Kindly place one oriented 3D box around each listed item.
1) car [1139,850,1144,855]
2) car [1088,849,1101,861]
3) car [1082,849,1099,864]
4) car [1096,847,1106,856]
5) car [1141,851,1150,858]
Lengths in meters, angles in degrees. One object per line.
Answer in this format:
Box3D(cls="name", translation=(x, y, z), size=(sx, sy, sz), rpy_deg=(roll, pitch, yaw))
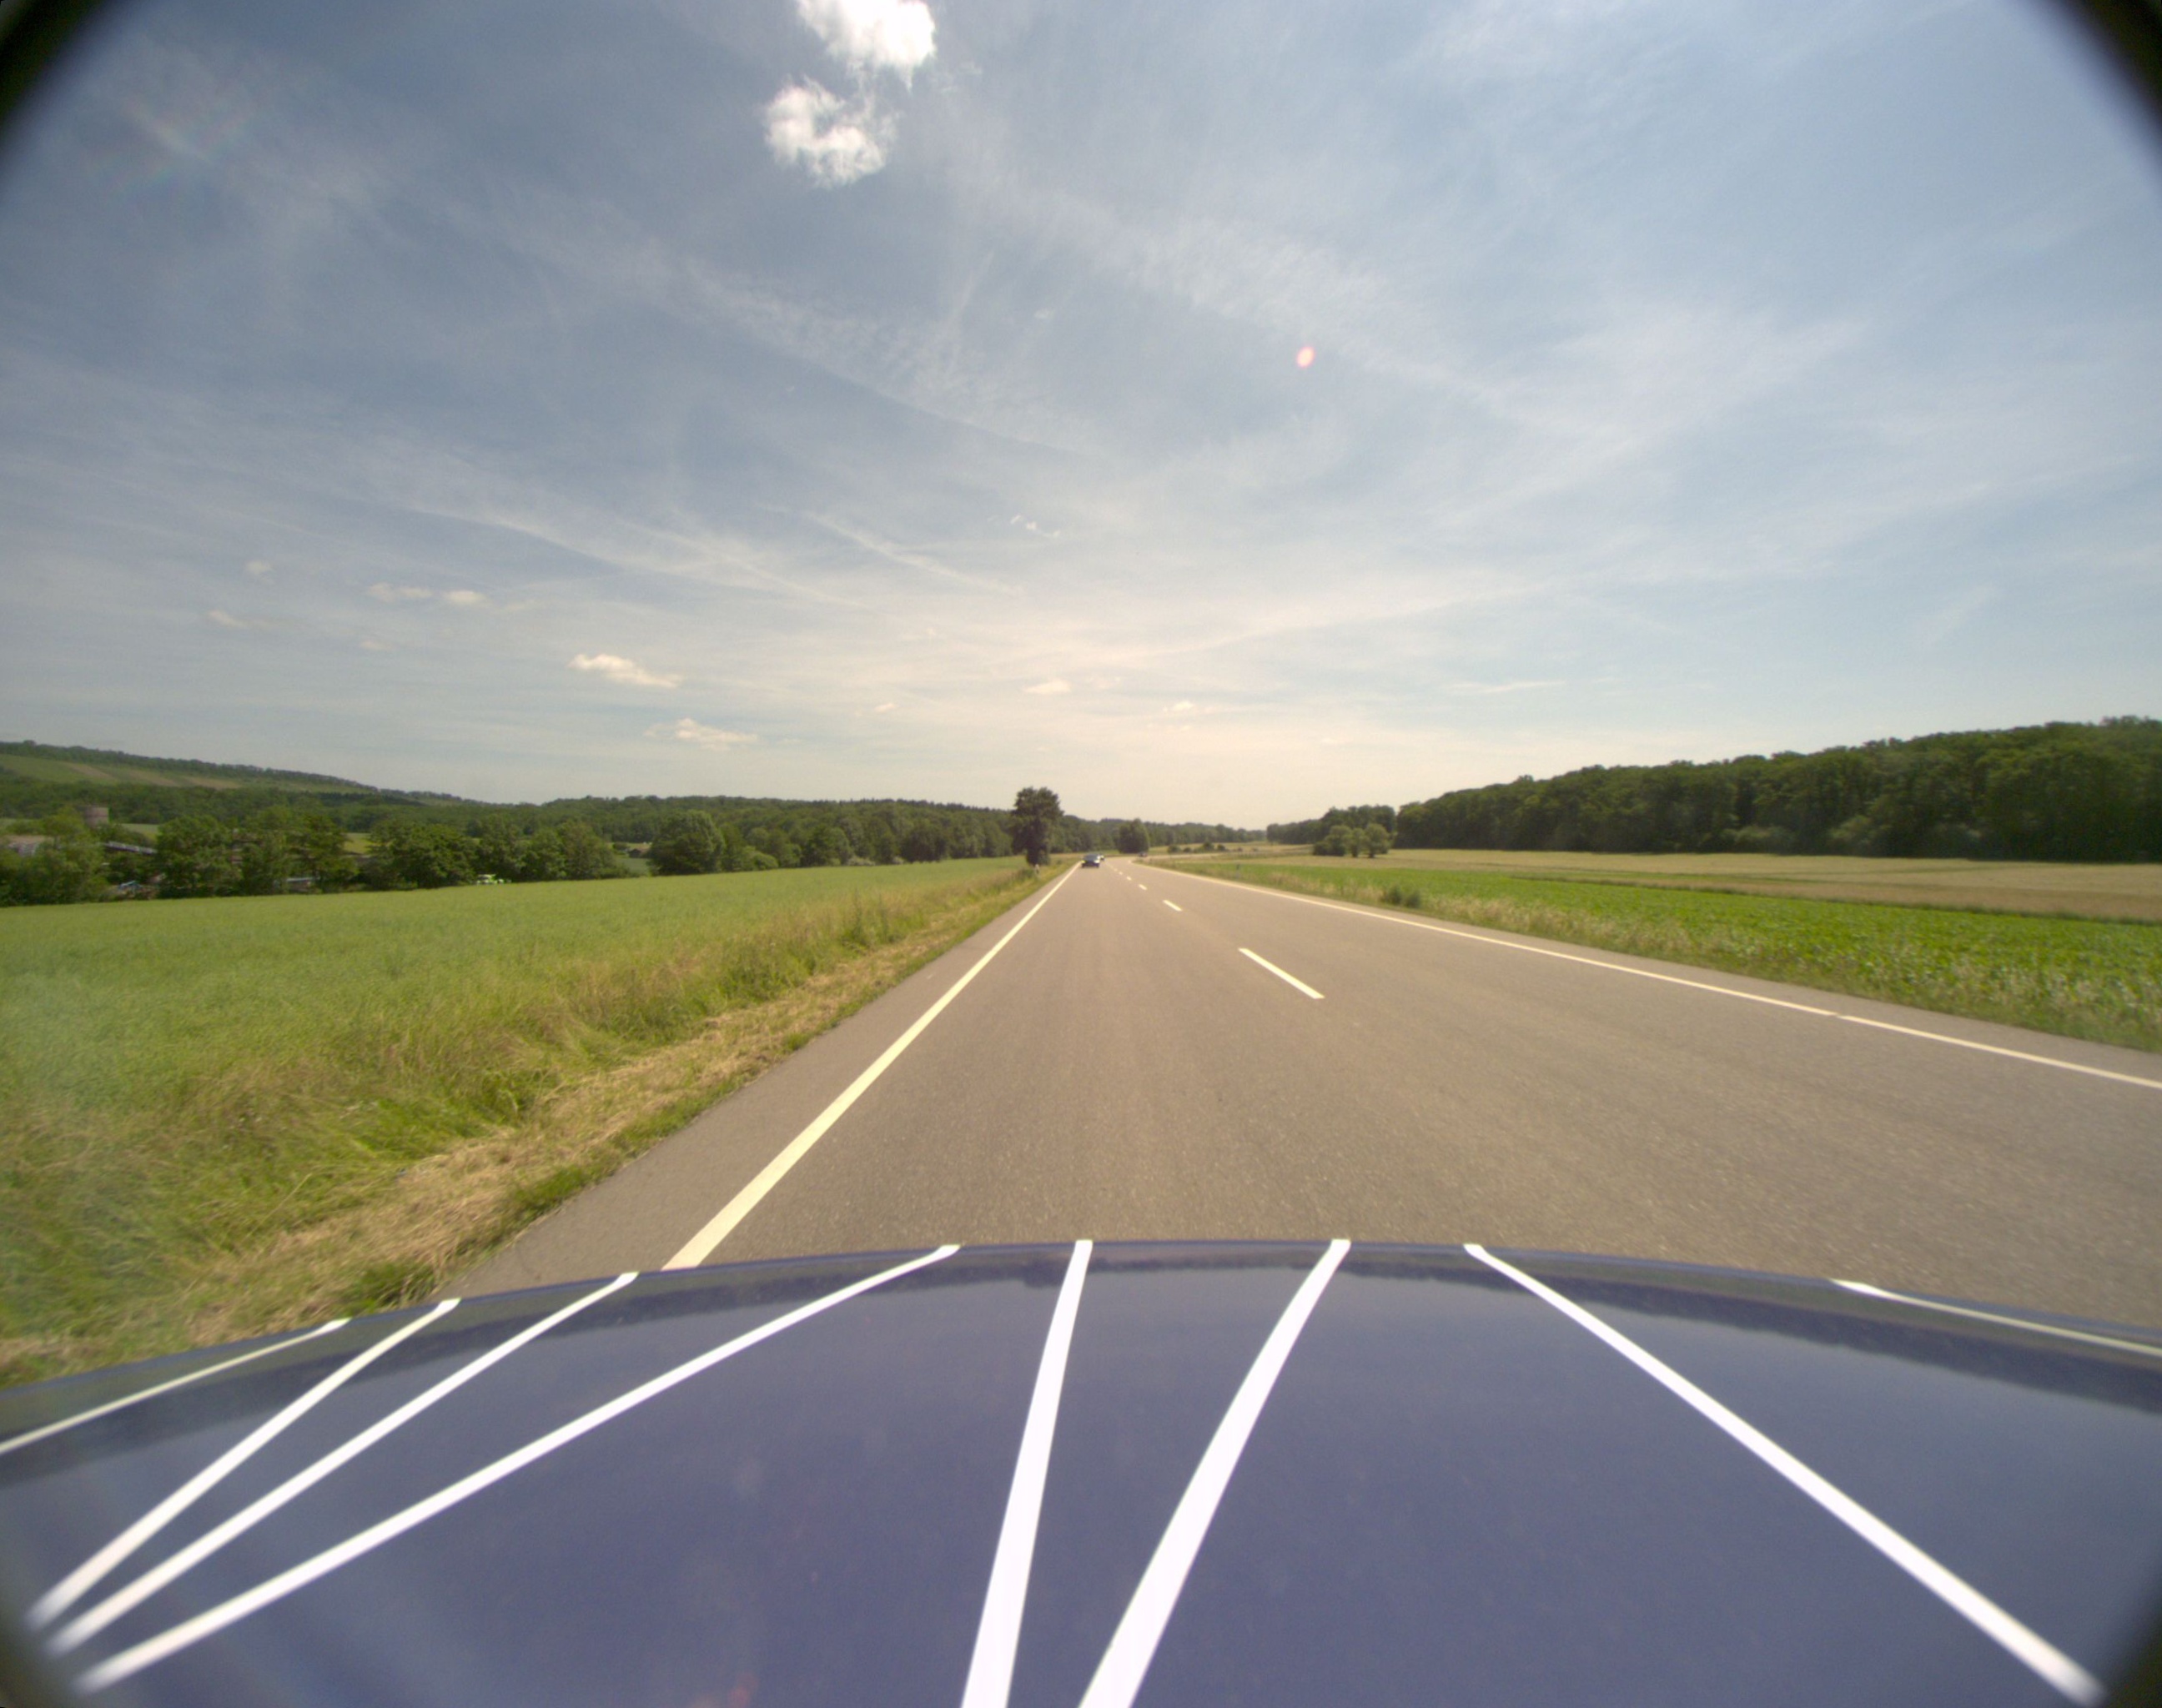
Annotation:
Box3D(cls="car", translation=(17.767, -0.423, 222.601), size=(1.621, 1.428, 3.444), rpy_deg=(0, 0, 5))
Box3D(cls="car", translation=(1.796, 0.099, 100.313), size=(1.621, 1.428, 3.443), rpy_deg=(1, 1, 1))
Box3D(cls="car", translation=(1.018, 0.256, 78.350), size=(1.621, 1.428, 3.442), rpy_deg=(-2, 1, 1))
Box3D(cls="car", translation=(3.548, -0.454, 135.632), size=(1.621, 1.429, 3.442), rpy_deg=(1, 3, 1))
Box3D(cls="car", translation=(14.603, 0.018, 171.707), size=(1.666, 1.543, 3.601), rpy_deg=(0, 0, 1))
